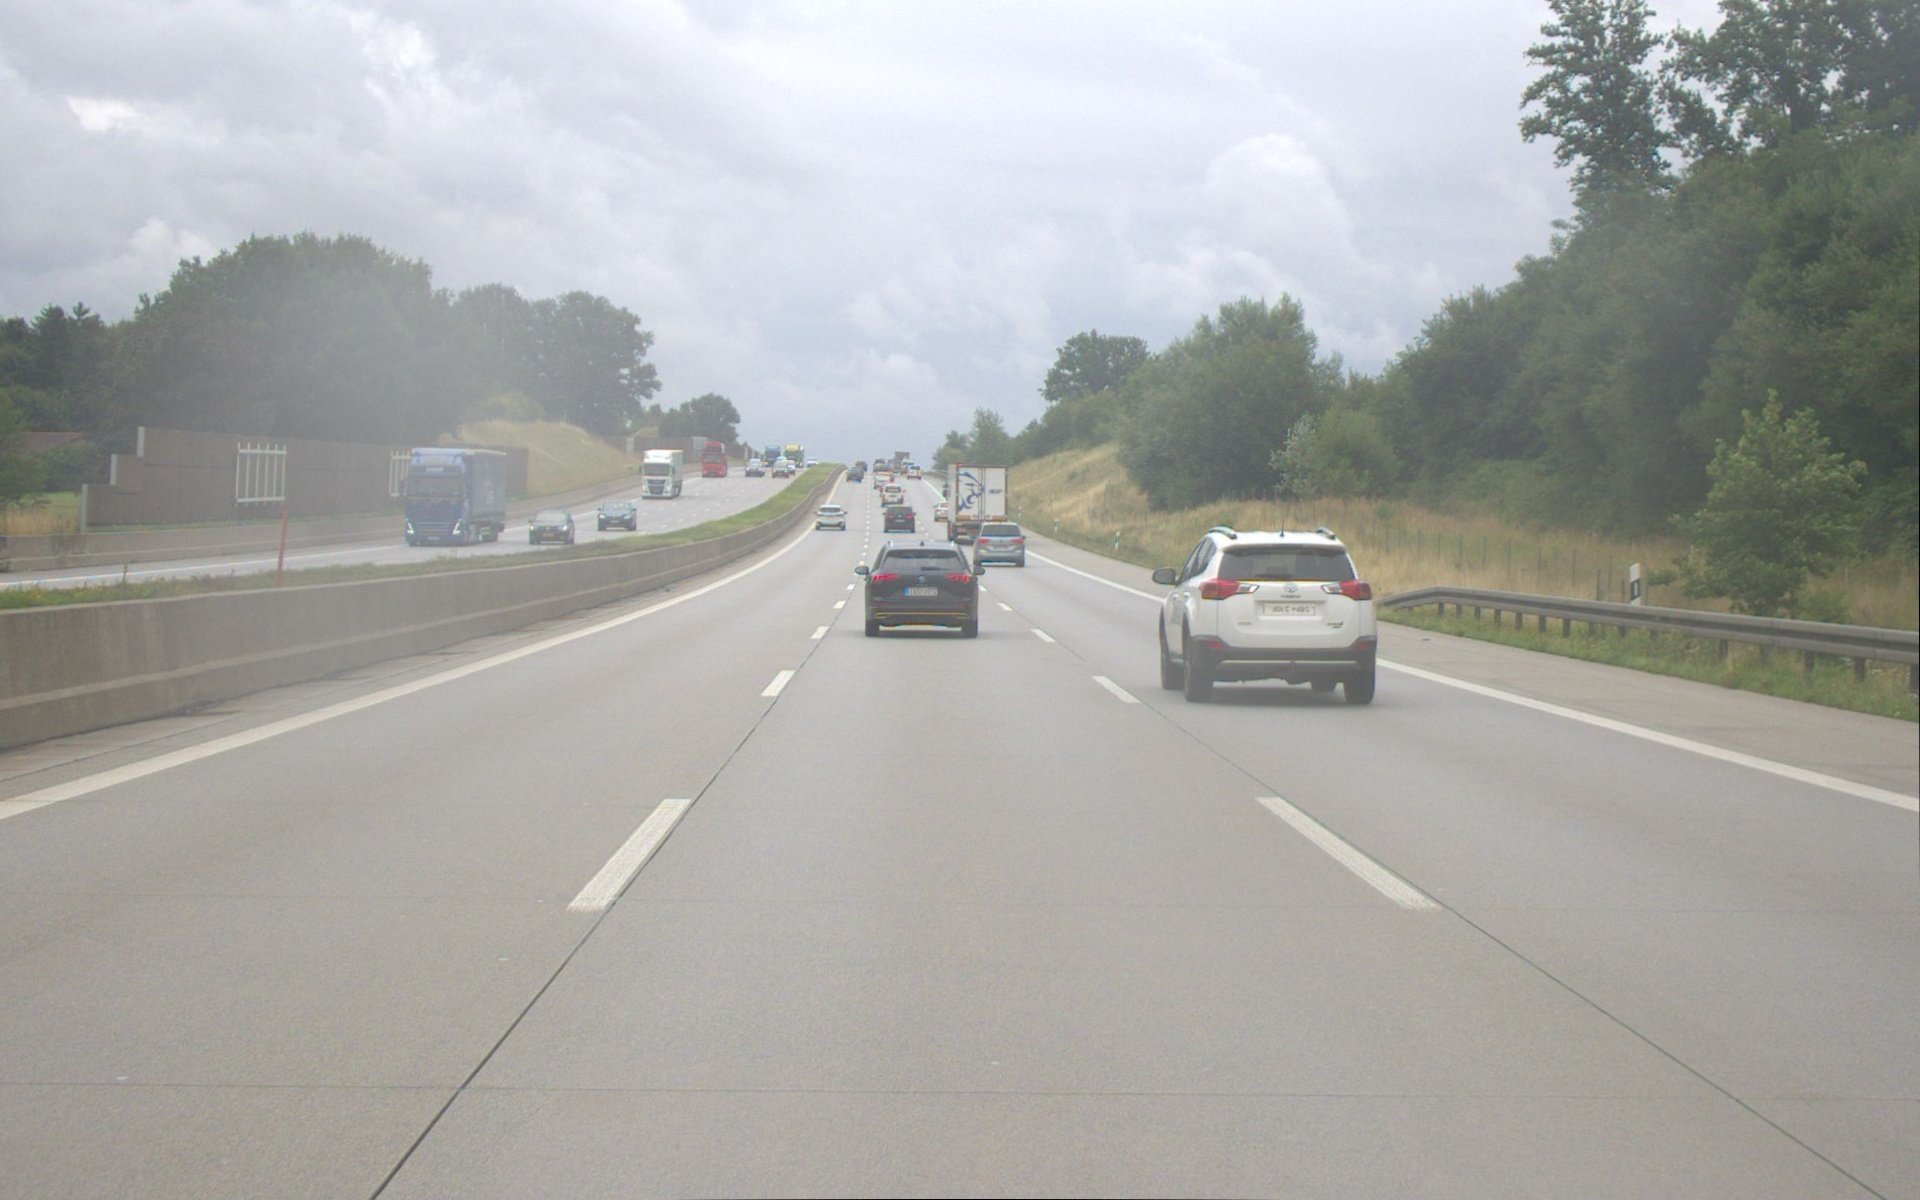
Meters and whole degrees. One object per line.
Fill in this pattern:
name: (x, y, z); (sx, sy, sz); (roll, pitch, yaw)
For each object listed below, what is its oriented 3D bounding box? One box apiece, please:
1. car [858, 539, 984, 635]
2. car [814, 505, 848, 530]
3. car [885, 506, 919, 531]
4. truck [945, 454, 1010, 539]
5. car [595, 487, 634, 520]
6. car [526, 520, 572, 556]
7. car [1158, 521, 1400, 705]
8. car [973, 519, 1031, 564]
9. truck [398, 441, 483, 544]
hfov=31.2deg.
car: (-0.649, -0.181, 53.504); (1.752, 1.393, 4.484); (1, 0, -3)
car: (-7.951, -5.070, 212.134); (1.947, 1.351, 4.259); (0, -1, 0)
car: (-3.492, -4.902, 207.273); (1.935, 1.370, 4.594); (1, 1, 0)
truck: (0.836, -5.256, 174.477); (3.017, 4.166, 8.355); (1, 2, -1)
car: (-18.948, -5.269, 188.650); (1.816, 1.761, 4.733); (1, 1, -2)
car: (-18.128, -2.737, 151.738); (1.636, 1.495, 4.519); (1, 0, -3)
car: (3.070, 0.092, 33.813); (1.825, 1.650, 3.985); (2, 1, -2)
car: (1.493, -2.118, 124.762); (1.993, 1.525, 4.000); (2, 1, 0)
truck: (-22.026, -4.515, 145.991); (2.691, 4.174, 6.211); (2, 1, -2)
